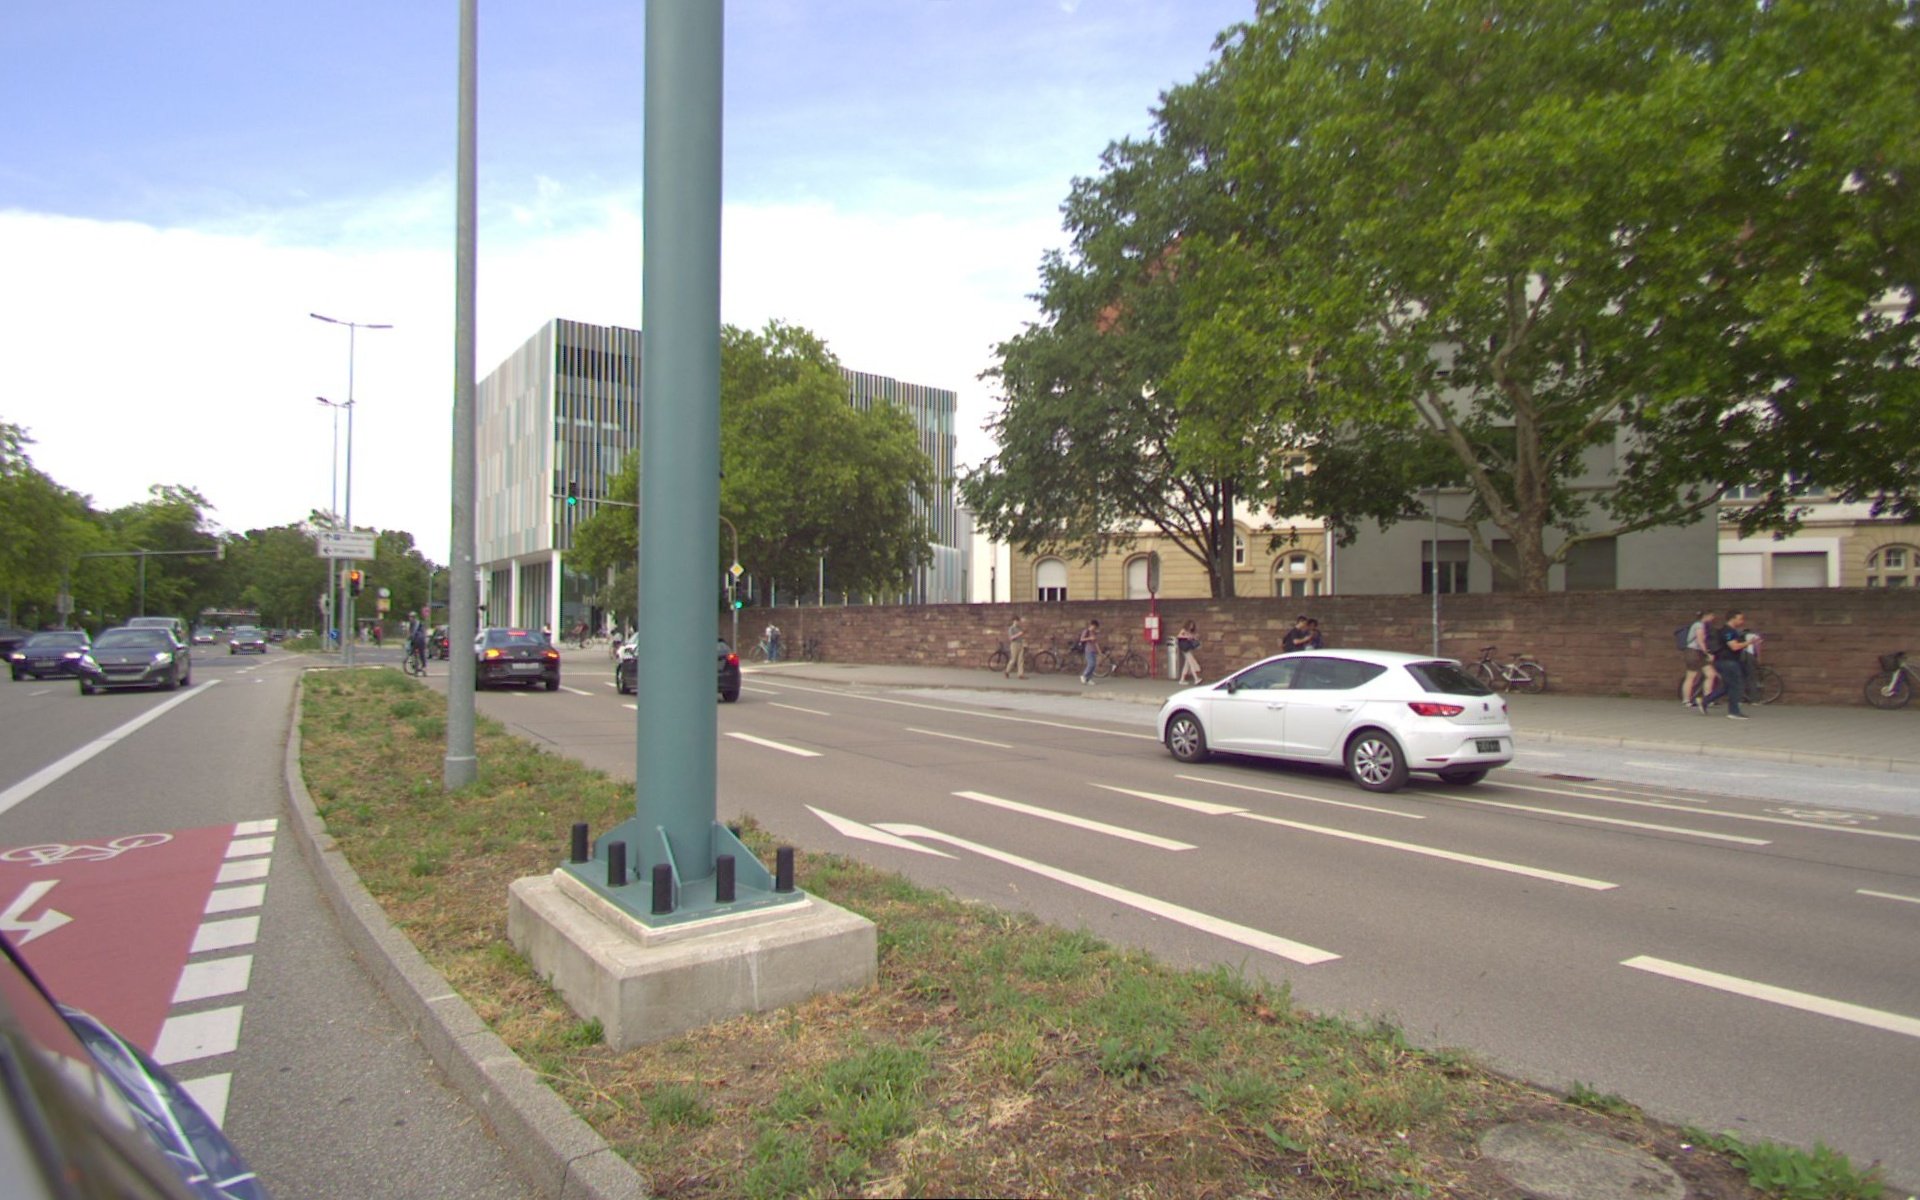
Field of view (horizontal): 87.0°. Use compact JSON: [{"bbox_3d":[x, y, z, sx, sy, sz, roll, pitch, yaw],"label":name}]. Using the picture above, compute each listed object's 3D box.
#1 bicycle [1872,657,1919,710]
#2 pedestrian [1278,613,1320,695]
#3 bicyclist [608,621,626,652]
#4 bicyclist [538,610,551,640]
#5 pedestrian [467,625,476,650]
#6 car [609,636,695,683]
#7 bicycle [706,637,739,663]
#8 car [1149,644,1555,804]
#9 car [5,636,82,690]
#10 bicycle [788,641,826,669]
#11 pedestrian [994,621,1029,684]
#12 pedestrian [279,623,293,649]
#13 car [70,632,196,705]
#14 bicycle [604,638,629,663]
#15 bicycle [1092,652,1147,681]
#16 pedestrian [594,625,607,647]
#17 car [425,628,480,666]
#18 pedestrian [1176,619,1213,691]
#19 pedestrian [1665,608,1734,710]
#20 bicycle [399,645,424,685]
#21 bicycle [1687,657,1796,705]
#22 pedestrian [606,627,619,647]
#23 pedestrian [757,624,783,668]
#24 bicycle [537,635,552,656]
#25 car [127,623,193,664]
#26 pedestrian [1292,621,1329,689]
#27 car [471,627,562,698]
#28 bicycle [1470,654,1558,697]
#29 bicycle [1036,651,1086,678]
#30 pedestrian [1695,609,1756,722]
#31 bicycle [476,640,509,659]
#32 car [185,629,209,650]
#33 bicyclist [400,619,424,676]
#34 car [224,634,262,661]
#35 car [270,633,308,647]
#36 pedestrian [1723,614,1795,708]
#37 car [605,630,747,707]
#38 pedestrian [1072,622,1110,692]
[{"bbox_3d":[16.892,1.464,17.556,1.554,0.885,0.412,-1,0,40],"label":"bicycle"},{"bbox_3d":[7.692,1.206,22.950,0.780,1.796,0.754,0,-1,28],"label":"pedestrian"},{"bbox_3d":[-16.264,1.720,47.957,0.572,1.430,0.813,1,-2,-35],"label":"bicyclist"},{"bbox_3d":[-25.162,1.539,61.232,0.609,1.796,0.813,1,-2,-28],"label":"bicyclist"},{"bbox_3d":[-37.781,2.906,78.344,0.504,1.851,0.626,1,-3,-37],"label":"pedestrian"},{"bbox_3d":[-10.167,1.927,33.218,1.648,1.400,3.933,4,-4,-32],"label":"car"},{"bbox_3d":[-10.948,2.293,46.604,0.570,1.134,2.169,-2,0,-38],"label":"bicycle"},{"bbox_3d":[4.253,1.260,11.670,1.673,1.454,4.187,2,-3,-33],"label":"car"},{"bbox_3d":[-27.657,1.857,30.585,1.636,1.475,4.005,-1,-1,-42],"label":"car"},{"bbox_3d":[-6.231,2.229,41.161,0.542,1.066,1.984,-2,0,-40],"label":"bicycle"},{"bbox_3d":[1.505,1.504,29.299,0.779,1.796,0.741,0,-1,24],"label":"pedestrian"},{"bbox_3d":[-48.245,2.574,72.457,0.716,1.867,1.067,1,-2,-38],"label":"pedestrian"},{"bbox_3d":[-19.011,1.517,23.420,1.633,1.475,4.012,-1,-1,-30],"label":"car"},{"bbox_3d":[-16.266,2.382,47.936,0.574,1.179,1.969,2,-3,-35],"label":"bicycle"},{"bbox_3d":[4.591,1.909,29.231,0.435,0.803,1.622,-1,-2,-42],"label":"bicycle"},{"bbox_3d":[-28.949,2.895,81.386,0.673,1.753,0.725,-1,-2,20],"label":"pedestrian"},{"bbox_3d":[-23.852,2.197,47.505,1.777,1.678,4.312,3,-4,-33],"label":"car"},{"bbox_3d":[6.002,1.384,25.861,0.779,1.796,0.755,0,-1,25],"label":"pedestrian"},{"bbox_3d":[13.511,1.051,18.516,0.910,1.796,0.754,0,-1,28],"label":"pedestrian"},{"bbox_3d":[-15.416,1.812,28.431,0.565,1.063,1.932,1,-2,-29],"label":"bicycle"},{"bbox_3d":[14.923,1.537,19.346,1.619,0.834,0.436,-1,0,40],"label":"bicycle"},{"bbox_3d":[-27.865,2.971,81.102,0.674,1.612,0.724,-1,-2,23],"label":"pedestrian"},{"bbox_3d":[-7.969,1.928,42.430,0.778,1.796,0.741,0,-1,22],"label":"pedestrian"},{"bbox_3d":[-25.147,2.749,61.179,0.610,1.226,2.051,1,-2,-28],"label":"bicycle"},{"bbox_3d":[-36.888,1.984,46.760,1.966,1.785,4.011,2,-3,-33],"label":"car"},{"bbox_3d":[8.554,1.324,24.700,0.734,1.604,0.581,0,-1,34],"label":"pedestrian"},{"bbox_3d":[-10.452,1.408,23.874,1.776,1.500,4.420,1,-2,-24],"label":"car"},{"bbox_3d":[11.975,1.617,21.907,1.619,0.834,0.436,-1,0,40],"label":"bicycle"},{"bbox_3d":[3.073,1.969,30.917,0.435,0.803,1.622,-1,-2,-42],"label":"bicycle"},{"bbox_3d":[12.668,1.060,16.766,0.719,1.796,0.753,0,1,32],"label":"pedestrian"},{"bbox_3d":[-30.055,3.166,65.081,0.606,1.179,1.871,-2,-2,39],"label":"bicycle"},{"bbox_3d":[-73.309,3.760,97.235,1.767,1.929,4.008,2,-3,-37],"label":"car"},{"bbox_3d":[-15.409,1.327,28.444,0.564,1.586,0.701,1,-2,-29],"label":"bicyclist"},{"bbox_3d":[-41.788,2.743,58.954,1.635,1.475,4.008,-1,-1,-38],"label":"car"},{"bbox_3d":[-72.045,4.272,108.582,4.402,1.500,1.787,-1,-2,33],"label":"car"},{"bbox_3d":[14.761,1.104,18.722,0.920,1.683,0.754,0,-1,28],"label":"pedestrian"},{"bbox_3d":[-6.248,1.413,21.939,1.730,1.500,4.389,2,-3,-33],"label":"car"},{"bbox_3d":[3.471,1.490,26.726,0.780,1.796,0.754,0,-1,26],"label":"pedestrian"}]
